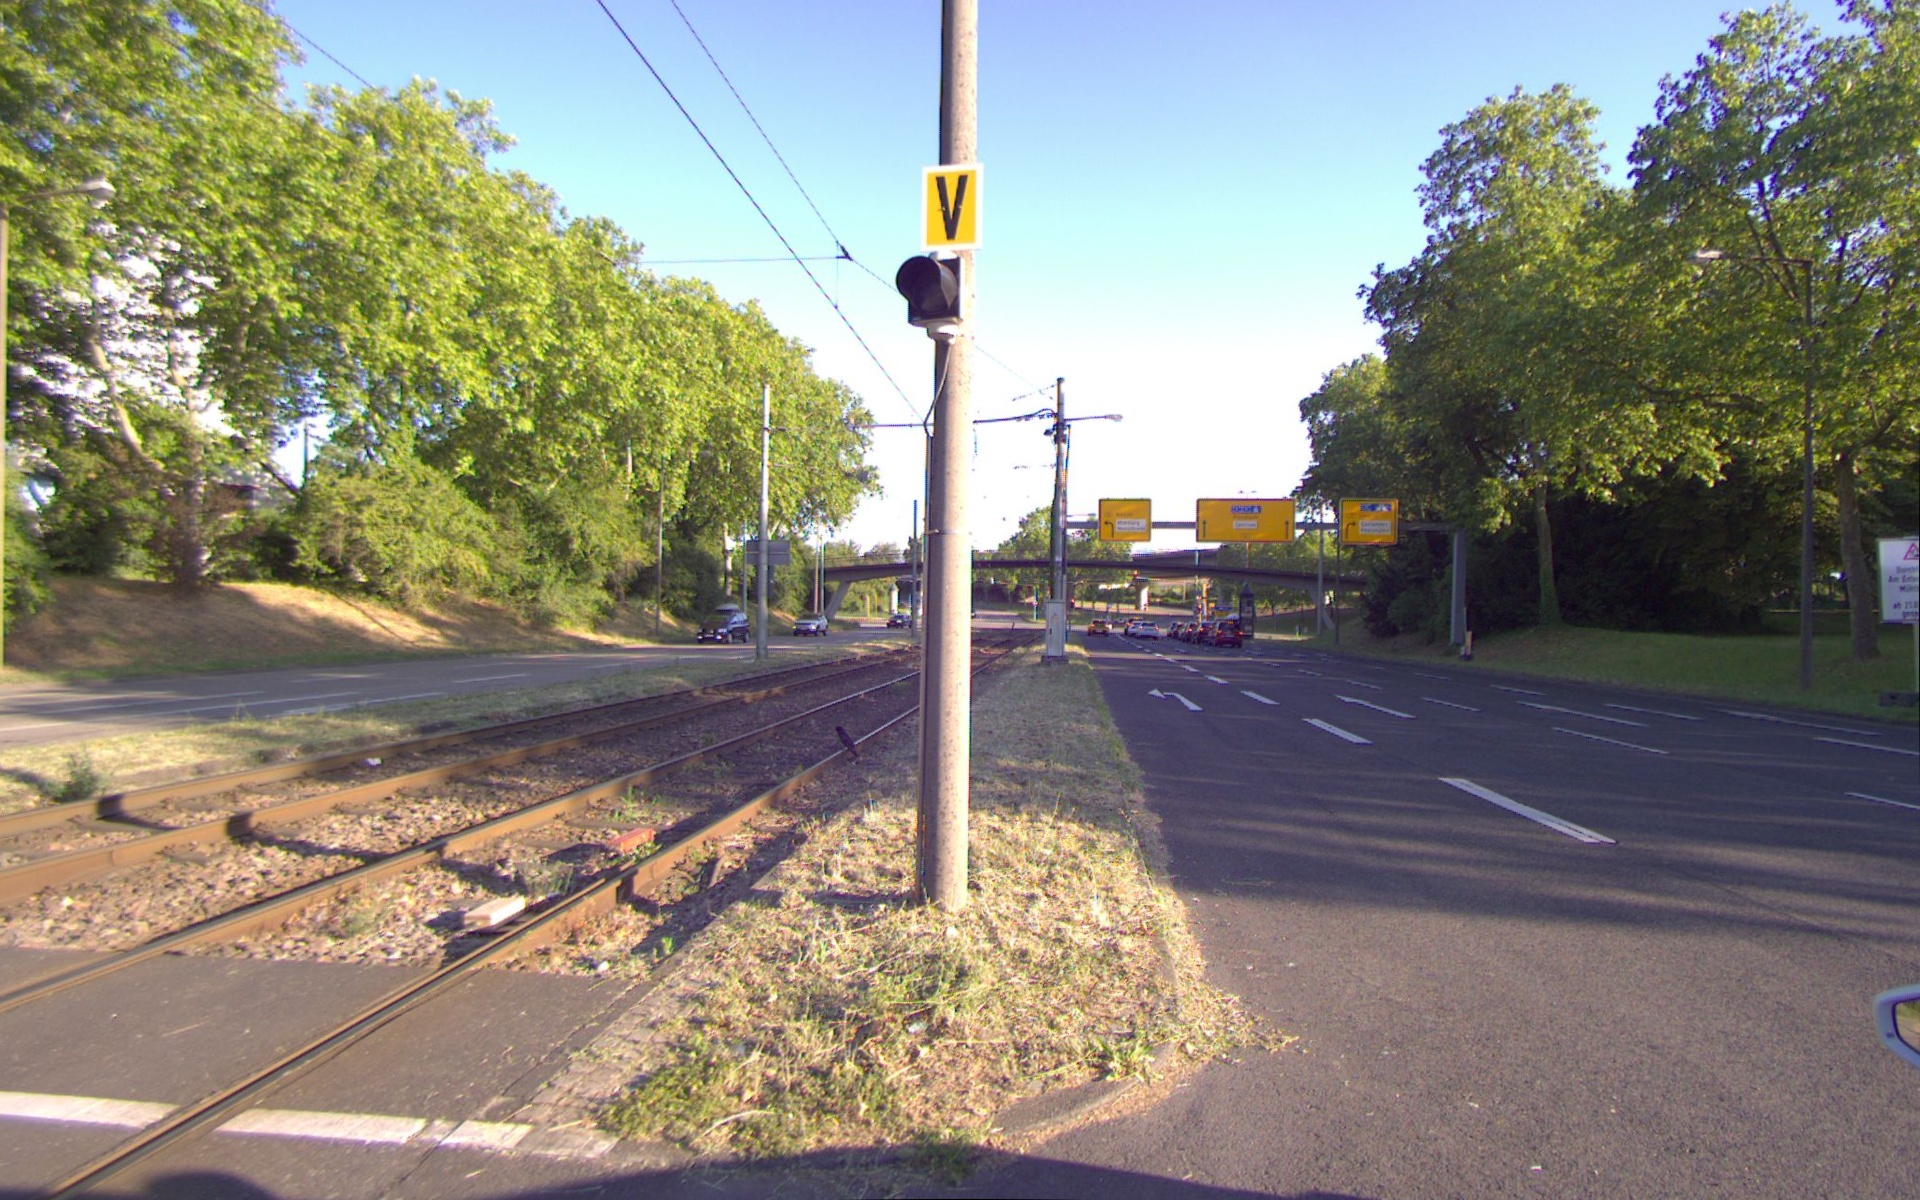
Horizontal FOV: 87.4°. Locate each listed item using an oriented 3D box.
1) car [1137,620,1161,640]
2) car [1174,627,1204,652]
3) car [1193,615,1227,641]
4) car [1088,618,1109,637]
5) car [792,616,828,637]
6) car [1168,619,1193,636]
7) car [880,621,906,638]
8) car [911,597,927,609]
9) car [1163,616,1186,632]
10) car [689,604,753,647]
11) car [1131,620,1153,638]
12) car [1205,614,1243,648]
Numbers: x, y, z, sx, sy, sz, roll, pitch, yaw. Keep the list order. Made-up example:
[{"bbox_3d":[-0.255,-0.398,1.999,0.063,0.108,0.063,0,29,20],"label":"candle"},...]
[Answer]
[{"bbox_3d":[15.418,2.417,82.248,1.634,1.586,4.193,0,-1,7],"label":"car"},{"bbox_3d":[17.406,2.960,76.511,1.762,1.773,4.002,0,-1,7],"label":"car"},{"bbox_3d":[17.433,1.930,70.222,1.762,1.773,4.243,0,-1,7],"label":"car"},{"bbox_3d":[11.828,2.316,85.911,1.634,1.586,4.002,0,-1,7],"label":"car"},{"bbox_3d":[-10.966,1.926,73.774,1.960,1.460,4.192,0,-1,1],"label":"car"},{"bbox_3d":[19.623,2.411,89.657,1.762,1.401,4.479,0,-1,7],"label":"car"},{"bbox_3d":[-7.186,3.136,107.973,1.959,1.703,4.193,0,-1,8],"label":"car"},{"bbox_3d":[-6.466,0.519,158.065,1.846,1.795,4.002,2,0,5],"label":"car"},{"bbox_3d":[20.148,2.206,94.441,1.762,1.461,4.002,0,-1,7],"label":"car"},{"bbox_3d":[-12.774,1.364,54.025,1.959,2.191,4.193,0,-1,8],"label":"car"},{"bbox_3d":[16.131,2.574,89.062,1.712,1.451,4.414,3,0,9],"label":"car"},{"bbox_3d":[16.781,1.940,63.907,1.762,2.133,4.002,0,-1,6],"label":"car"}]
